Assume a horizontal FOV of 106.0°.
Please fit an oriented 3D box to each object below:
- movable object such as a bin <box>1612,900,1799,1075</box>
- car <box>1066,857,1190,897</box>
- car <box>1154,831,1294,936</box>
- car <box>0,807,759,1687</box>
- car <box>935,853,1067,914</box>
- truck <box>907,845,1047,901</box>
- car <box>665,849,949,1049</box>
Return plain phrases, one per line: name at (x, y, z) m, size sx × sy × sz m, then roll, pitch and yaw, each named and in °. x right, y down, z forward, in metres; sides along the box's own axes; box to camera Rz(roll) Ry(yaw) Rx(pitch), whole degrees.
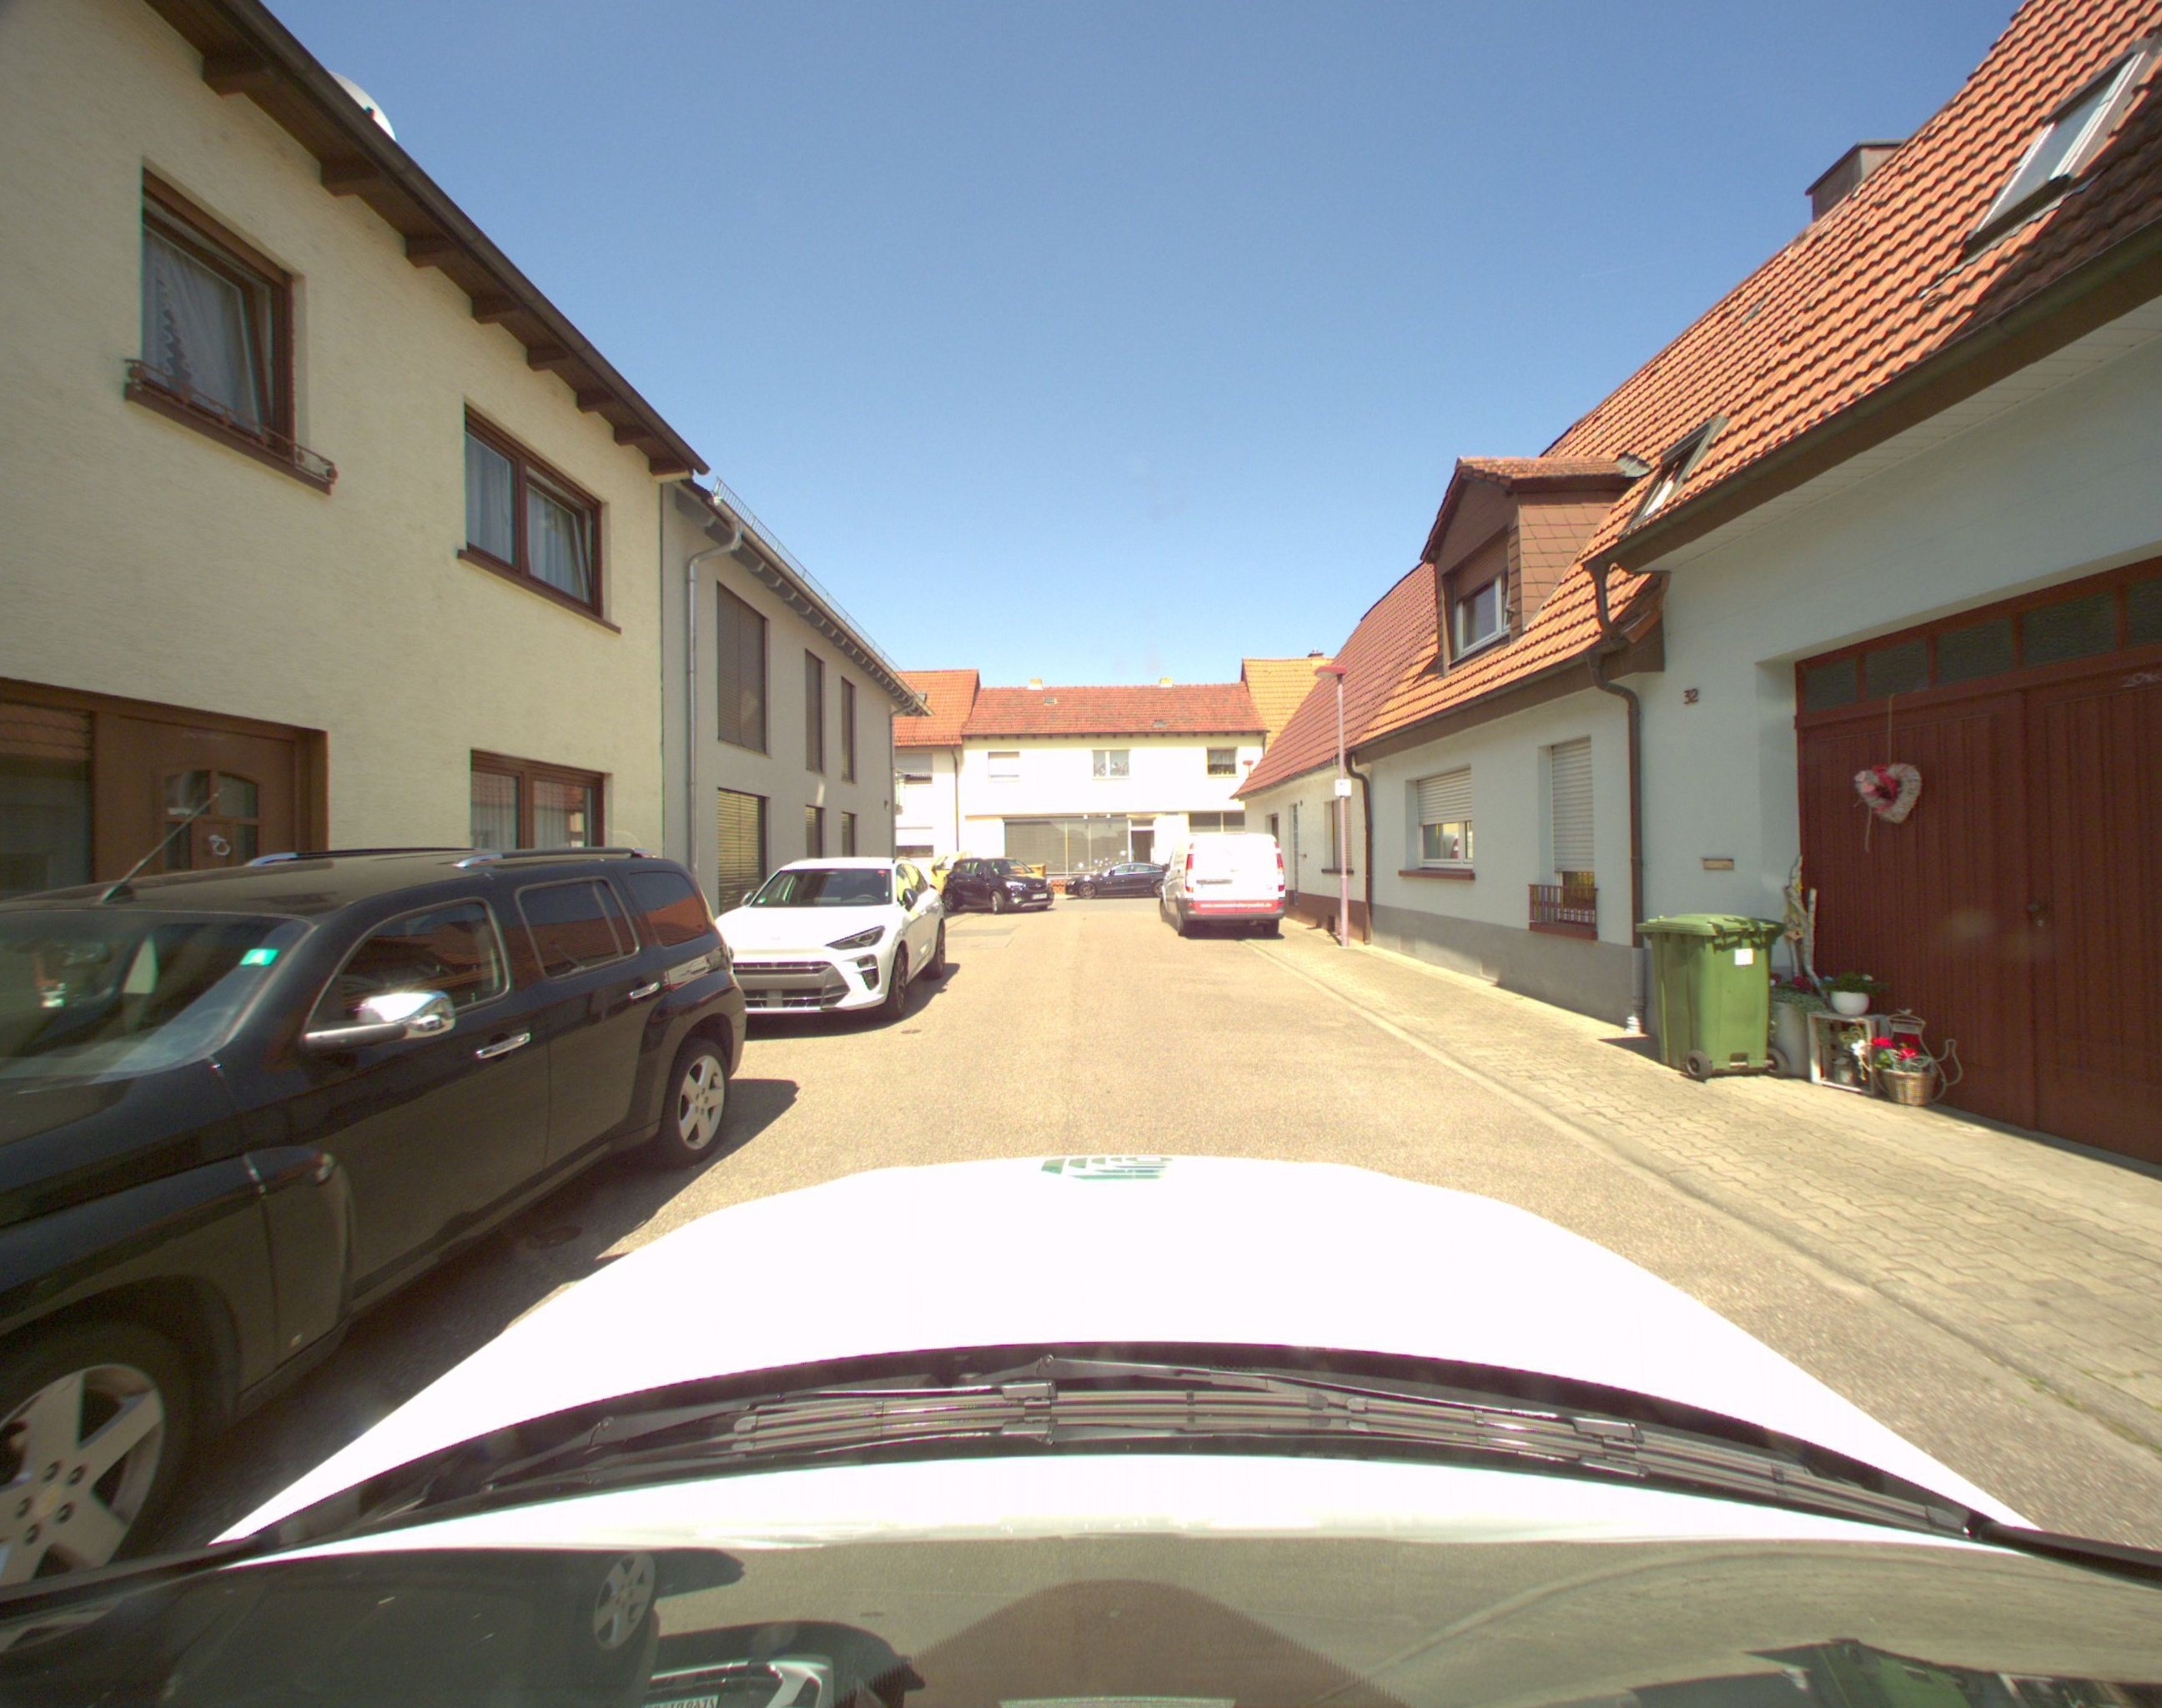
movable object such as a bin at (4.306, 0.887, 5.674) m, size 0.657 × 1.071 × 0.812 m, roll -1°, pitch 0°, yaw -2°
car at (1.748, 0.896, 31.218) m, size 4.603 × 1.394 × 1.926 m, roll -1°, pitch -3°, yaw -2°
car at (2.740, 0.524, 16.911) m, size 2.006 × 1.839 × 5.265 m, roll 0°, pitch 0°, yaw 0°
car at (-2.824, 0.766, 2.766) m, size 1.716 × 1.615 × 3.990 m, roll -2°, pitch -1°, yaw 2°
car at (-2.469, 0.856, 24.262) m, size 1.771 × 1.583 × 4.230 m, roll -2°, pitch 0°, yaw -40°
truck at (-3.877, 0.718, 31.188) m, size 5.047 × 2.014 × 2.189 m, roll -1°, pitch -1°, yaw 0°
car at (-2.661, 0.813, 9.057) m, size 1.769 × 1.615 × 4.345 m, roll -2°, pitch 0°, yaw -2°
